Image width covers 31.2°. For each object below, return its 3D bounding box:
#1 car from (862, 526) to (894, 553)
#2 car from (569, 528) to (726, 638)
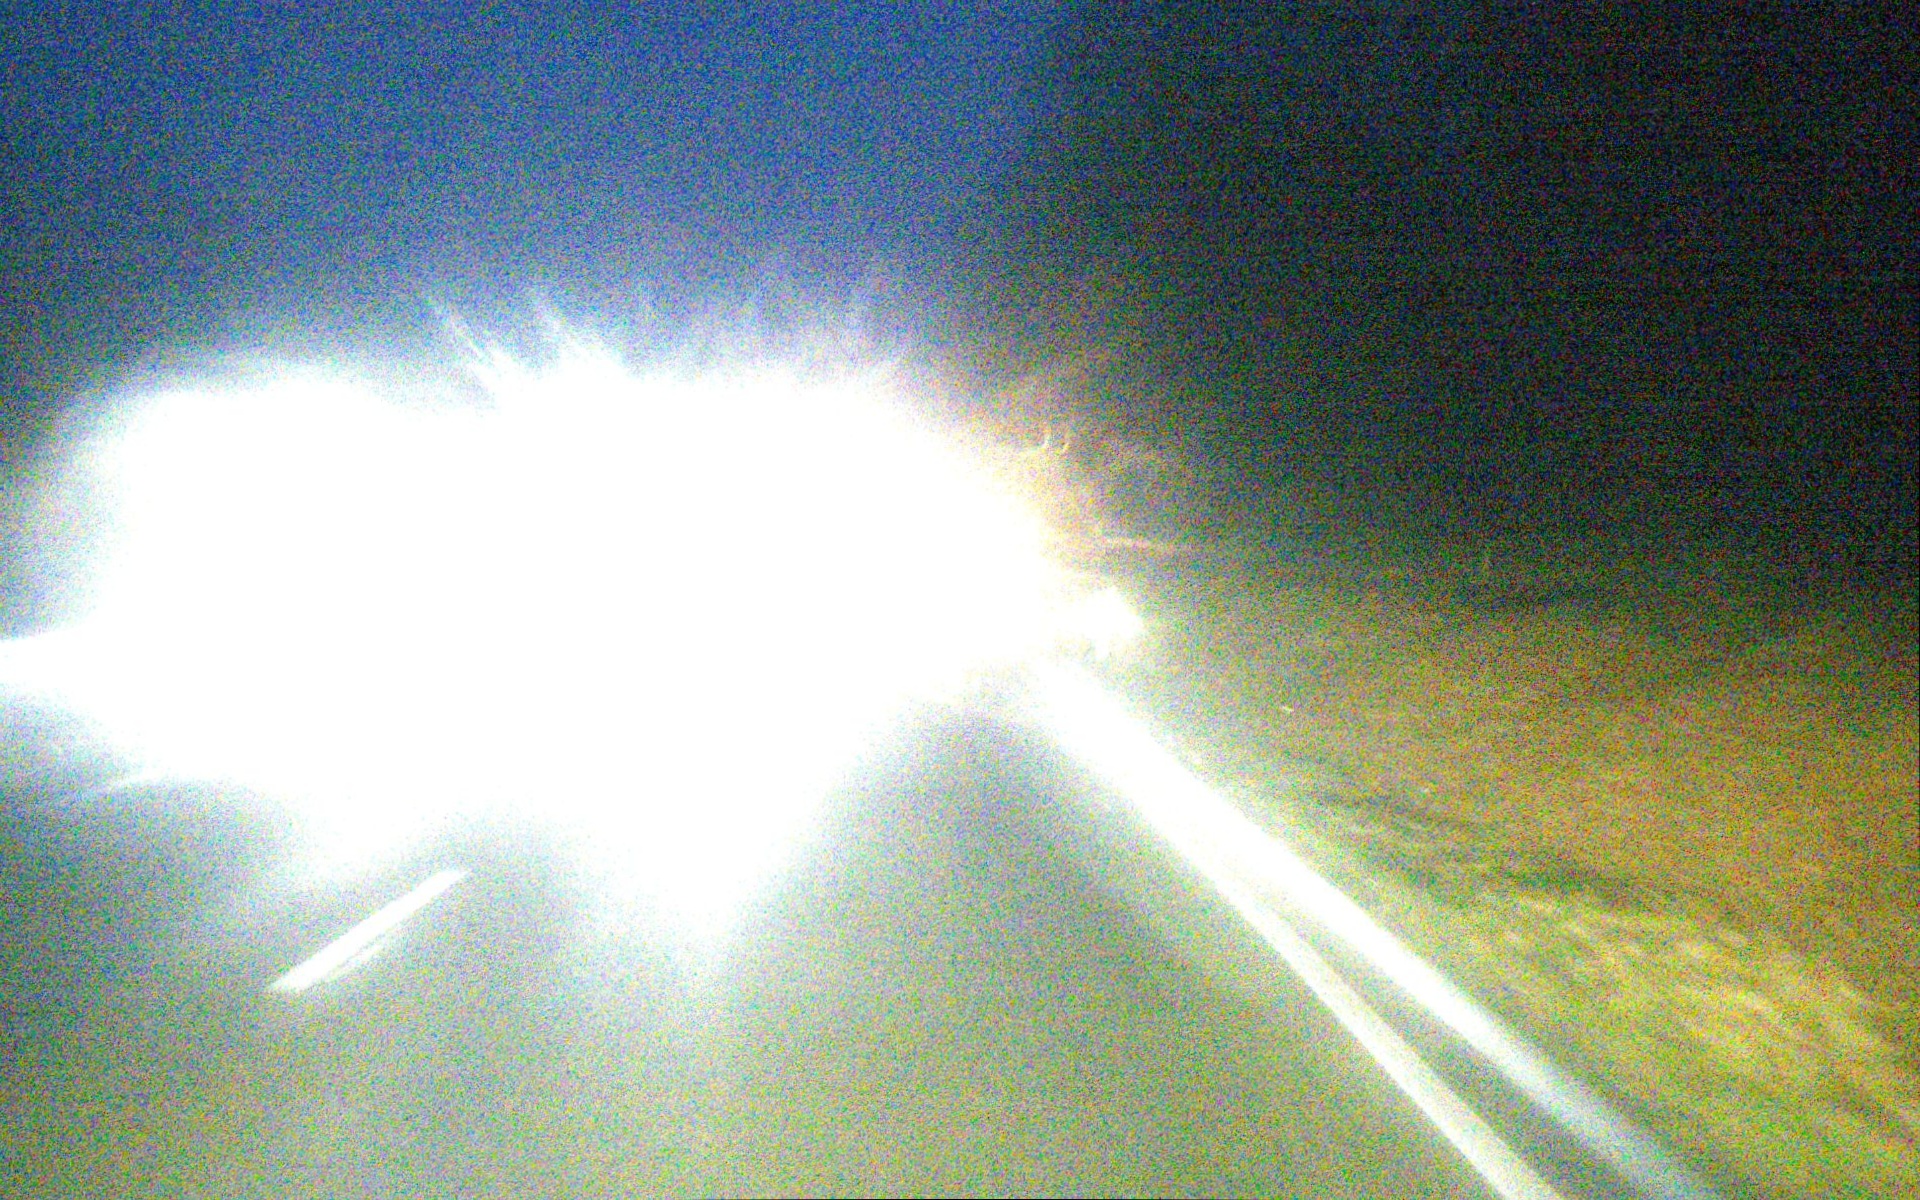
[{"bbox_3d":[-5.136,-3.817,215.694,1.993,1.660,4.000,0,1,-1],"label":"car"},{"bbox_3d":[-4.773,-0.285,53.026,2.097,1.633,4.456,0,1,-1],"label":"car"}]
